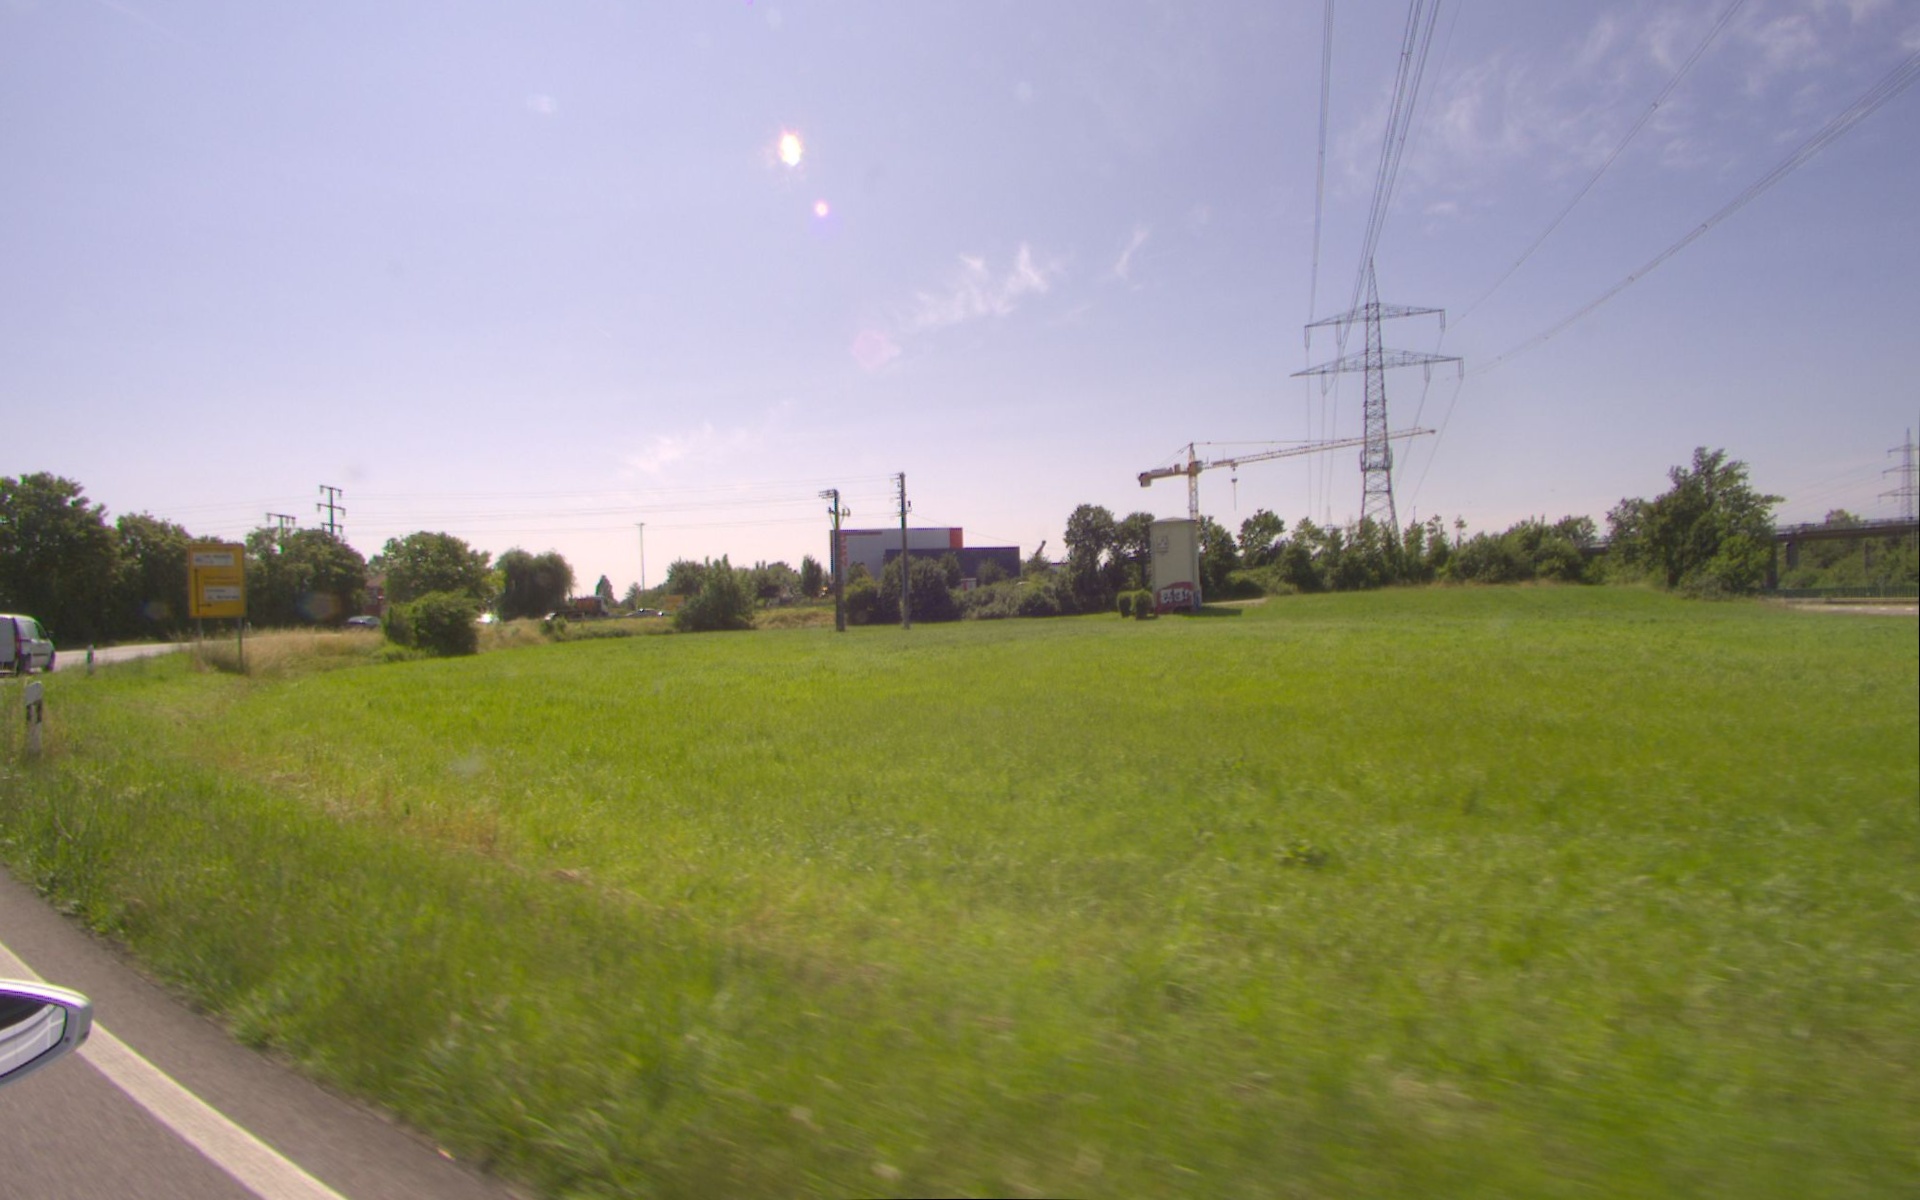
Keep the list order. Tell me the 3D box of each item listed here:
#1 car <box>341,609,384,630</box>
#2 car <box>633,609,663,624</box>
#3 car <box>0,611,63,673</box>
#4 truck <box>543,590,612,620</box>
[{"bbox_3d":[-43.686,1.425,73.271,1.693,1.438,3.740,-1,-1,-15],"label":"car"},{"bbox_3d":[-44.911,2.341,144.143,3.924,2.039,2.000,0,-2,-9],"label":"car"},{"bbox_3d":[-28.409,1.253,29.790,1.883,1.755,3.801,-1,-1,-32],"label":"car"},{"bbox_3d":[-43.866,0.660,115.191,3.050,3.176,8.800,-1,-2,13],"label":"truck"}]
